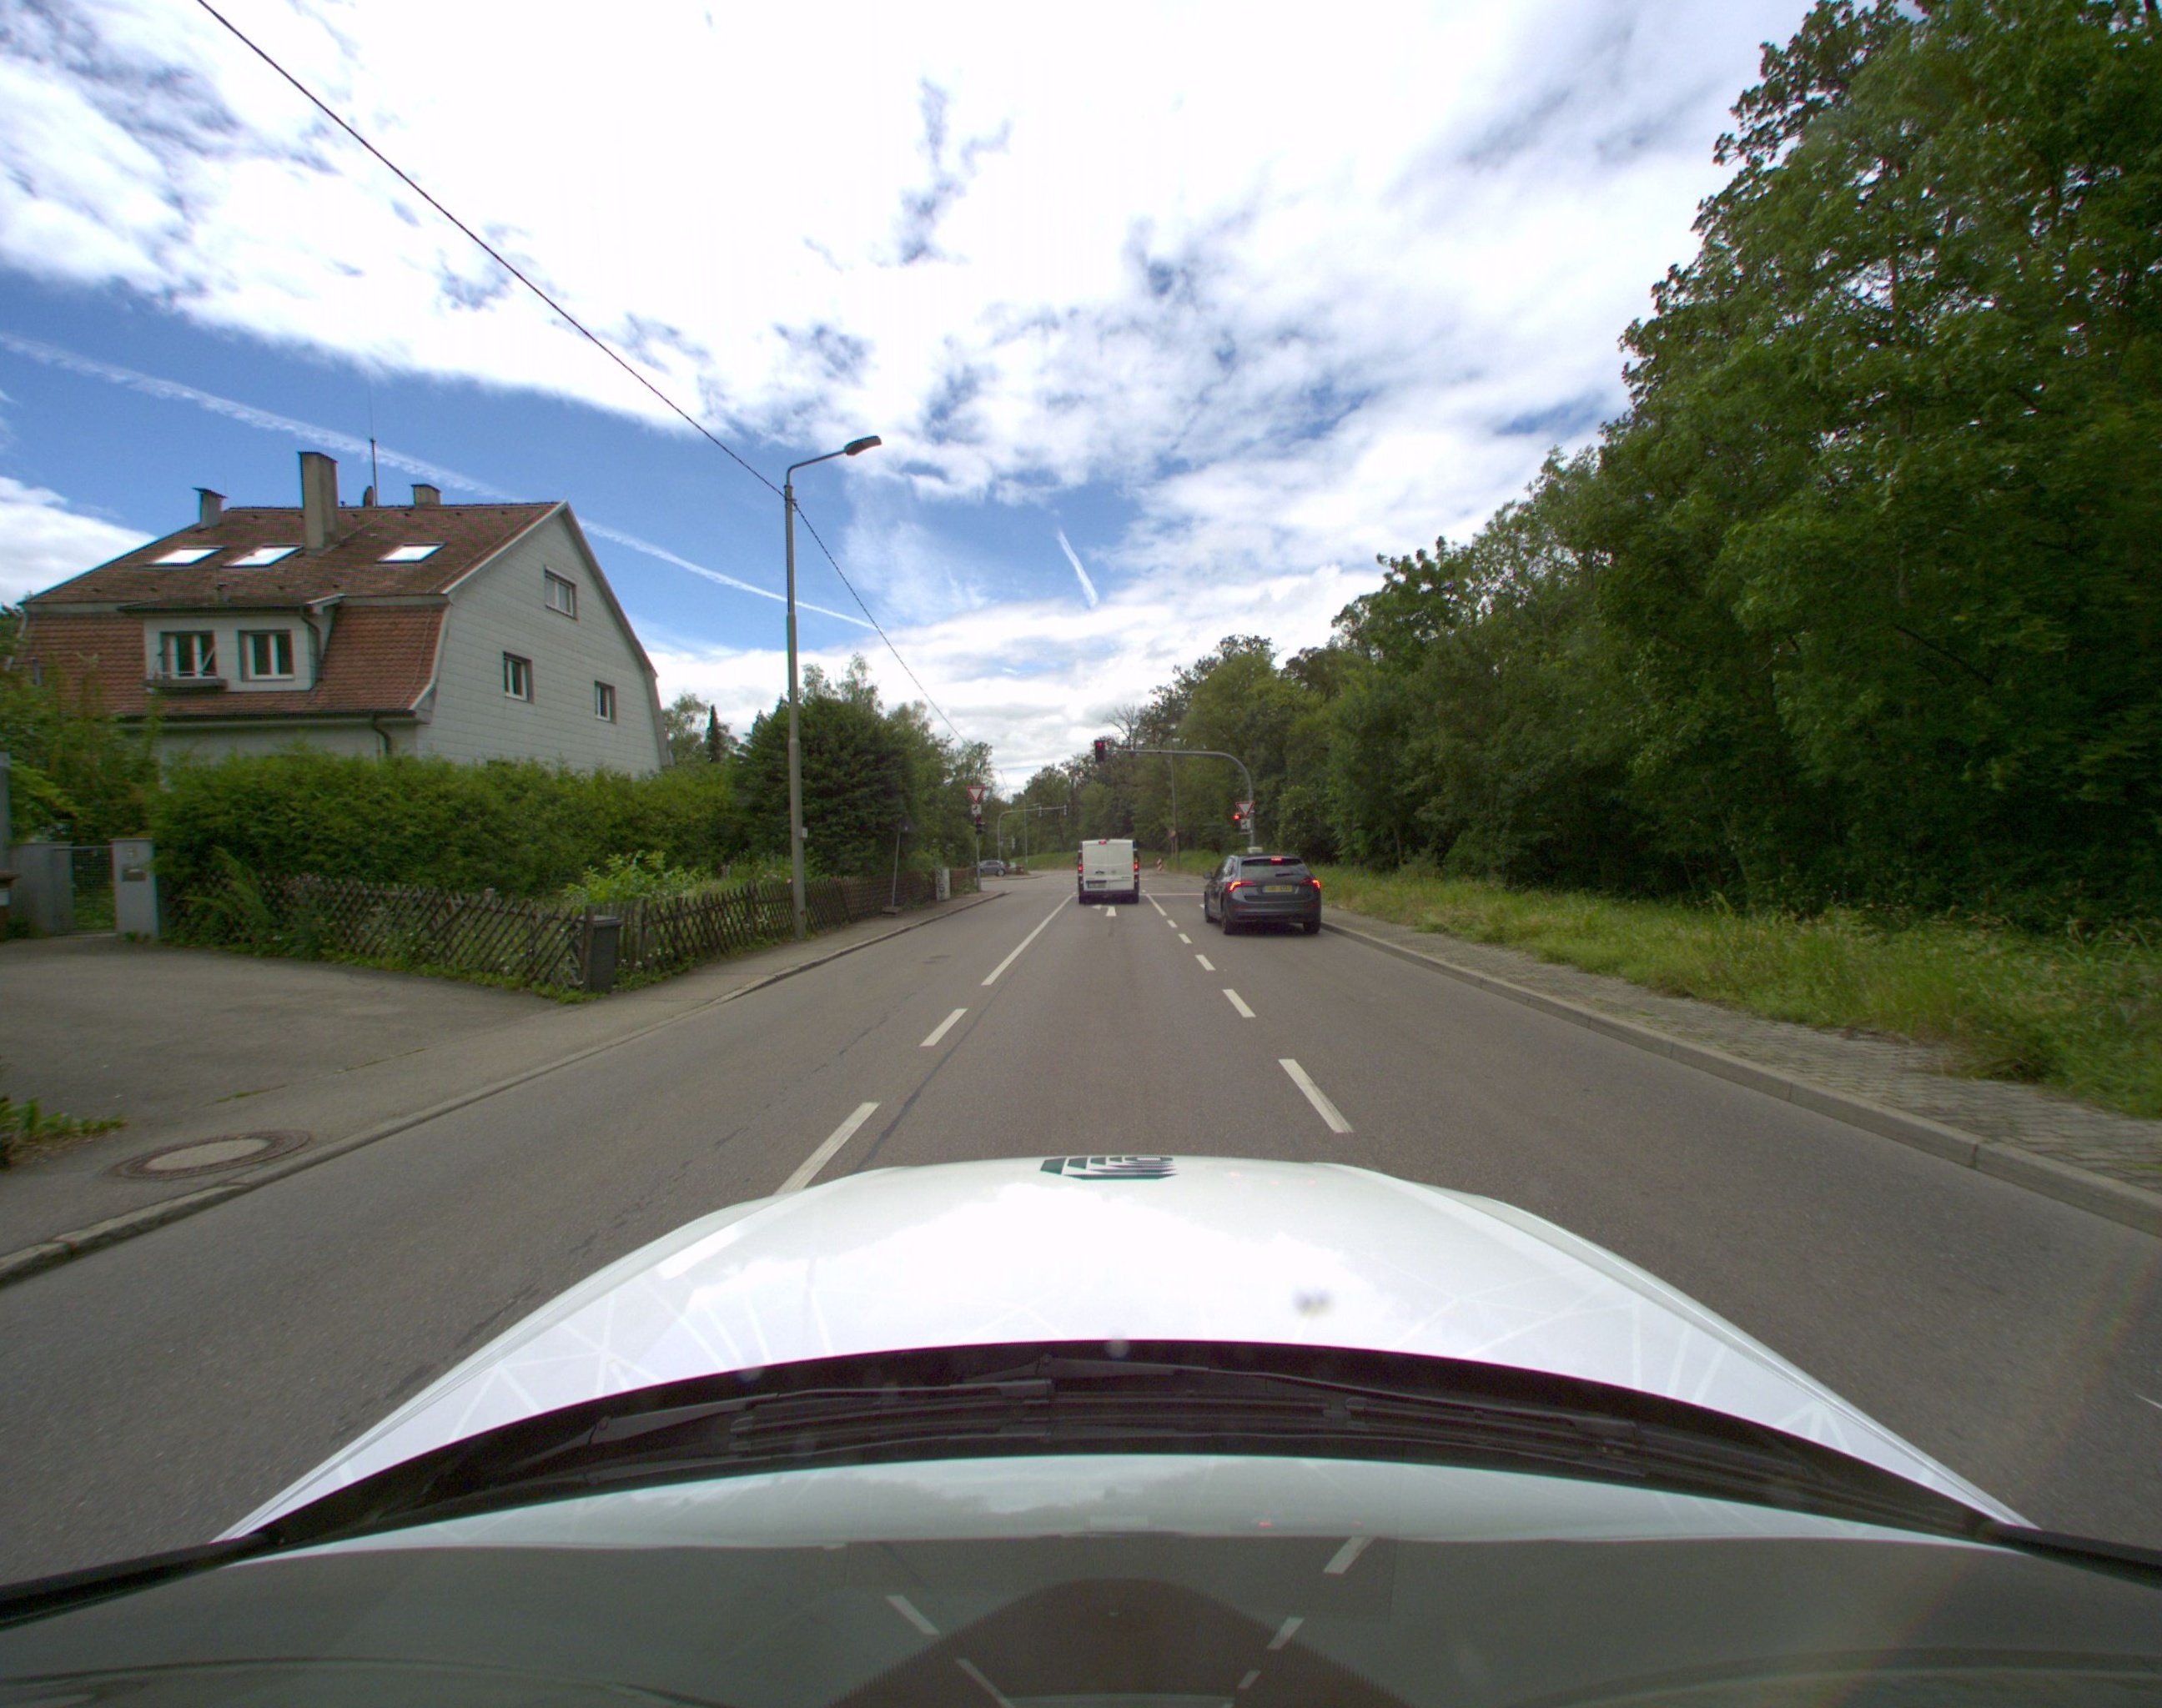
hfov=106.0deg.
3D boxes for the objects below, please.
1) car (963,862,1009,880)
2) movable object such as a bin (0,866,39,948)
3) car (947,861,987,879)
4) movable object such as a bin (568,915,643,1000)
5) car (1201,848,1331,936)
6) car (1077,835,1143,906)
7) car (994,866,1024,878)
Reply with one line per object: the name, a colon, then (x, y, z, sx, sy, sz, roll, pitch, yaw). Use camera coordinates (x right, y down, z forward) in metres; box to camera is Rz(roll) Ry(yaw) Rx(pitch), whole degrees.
car: (-8.912, 1.559, 76.459, 4.093, 1.553, 1.845, -2, 0, -15)
movable object such as a bin: (-13.828, 0.667, 10.343, 0.490, 1.013, 0.501, 0, 2, 4)
car: (-9.259, 1.281, 66.385, 1.683, 1.449, 3.562, 0, 0, 22)
movable object such as a bin: (-5.697, 1.230, 9.779, 0.548, 0.938, 0.538, -2, 0, 3)
car: (3.461, 0.660, 15.940, 1.785, 1.450, 4.003, -2, 0, 3)
car: (0.860, 0.486, 26.397, 1.910, 2.053, 4.613, -2, 0, 0)
car: (-10.565, 2.615, 119.327, 3.948, 1.507, 1.875, -3, 0, 36)
